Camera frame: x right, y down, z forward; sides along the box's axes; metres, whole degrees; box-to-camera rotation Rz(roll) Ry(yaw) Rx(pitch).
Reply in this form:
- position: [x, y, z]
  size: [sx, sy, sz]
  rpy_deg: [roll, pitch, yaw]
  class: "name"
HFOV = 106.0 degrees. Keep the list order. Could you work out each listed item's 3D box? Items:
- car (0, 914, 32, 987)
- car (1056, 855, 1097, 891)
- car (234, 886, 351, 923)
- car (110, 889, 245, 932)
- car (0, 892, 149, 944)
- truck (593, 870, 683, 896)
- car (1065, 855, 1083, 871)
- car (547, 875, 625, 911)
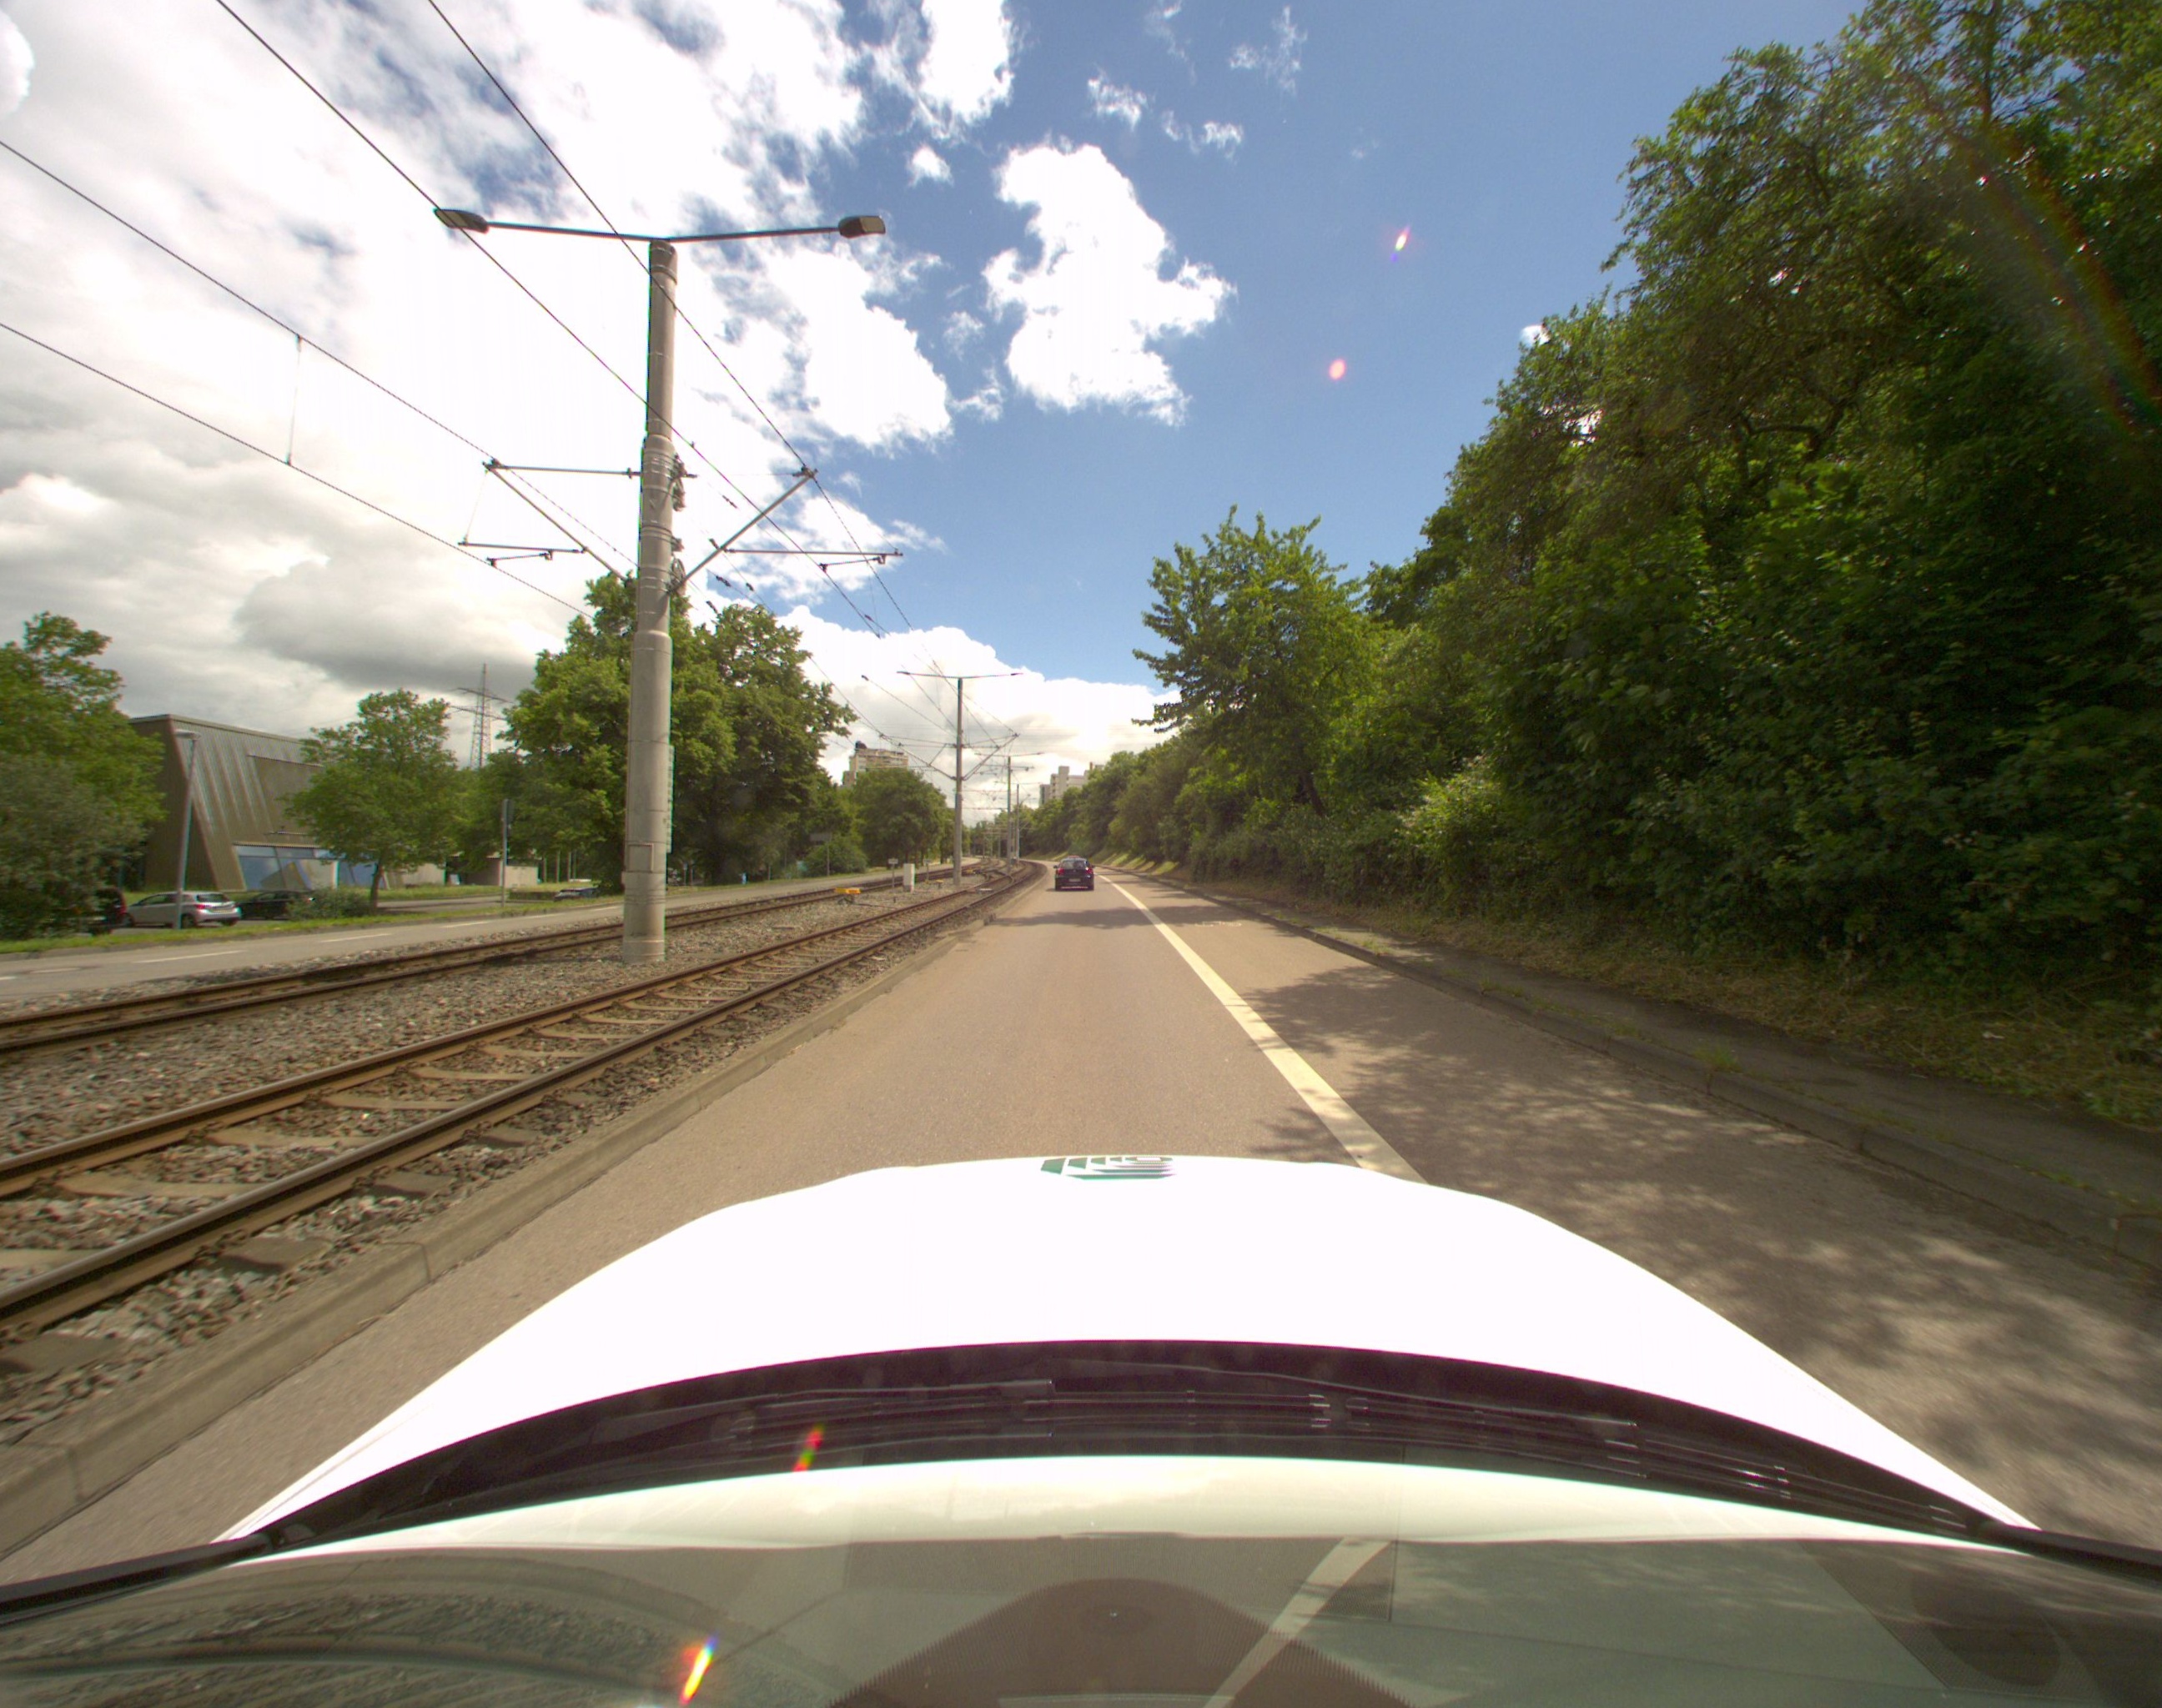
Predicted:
- position: [-27.718, 2.422, 18.691]
  size: [1.984, 1.755, 4.067]
  rpy_deg: [1, 1, -1]
  class: "car"
- position: [-0.154, 0.845, 36.774]
  size: [1.702, 1.460, 3.960]
  rpy_deg: [2, -1, 1]
  class: "car"
- position: [-37.762, 2.389, 39.064]
  size: [3.966, 1.599, 1.862]
  rpy_deg: [1, -1, 7]
  class: "car"
- position: [-37.980, 2.348, 34.291]
  size: [3.964, 1.599, 1.863]
  rpy_deg: [1, -1, 8]
  class: "car"
- position: [-36.386, 2.272, 29.378]
  size: [3.575, 1.637, 1.955]
  rpy_deg: [1, -1, 8]
  class: "car"
- position: [-52.425, 3.454, 96.498]
  size: [9.065, 2.695, 2.613]
  rpy_deg: [-2, 0, -2]
  class: "truck"
- position: [-0.738, 0.853, 78.731]
  size: [1.620, 1.443, 3.418]
  rpy_deg: [1, -1, -2]
  class: "car"
- position: [-27.418, 2.111, 45.281]
  size: [1.809, 1.772, 4.001]
  rpy_deg: [-1, 0, 1]
  class: "car"
